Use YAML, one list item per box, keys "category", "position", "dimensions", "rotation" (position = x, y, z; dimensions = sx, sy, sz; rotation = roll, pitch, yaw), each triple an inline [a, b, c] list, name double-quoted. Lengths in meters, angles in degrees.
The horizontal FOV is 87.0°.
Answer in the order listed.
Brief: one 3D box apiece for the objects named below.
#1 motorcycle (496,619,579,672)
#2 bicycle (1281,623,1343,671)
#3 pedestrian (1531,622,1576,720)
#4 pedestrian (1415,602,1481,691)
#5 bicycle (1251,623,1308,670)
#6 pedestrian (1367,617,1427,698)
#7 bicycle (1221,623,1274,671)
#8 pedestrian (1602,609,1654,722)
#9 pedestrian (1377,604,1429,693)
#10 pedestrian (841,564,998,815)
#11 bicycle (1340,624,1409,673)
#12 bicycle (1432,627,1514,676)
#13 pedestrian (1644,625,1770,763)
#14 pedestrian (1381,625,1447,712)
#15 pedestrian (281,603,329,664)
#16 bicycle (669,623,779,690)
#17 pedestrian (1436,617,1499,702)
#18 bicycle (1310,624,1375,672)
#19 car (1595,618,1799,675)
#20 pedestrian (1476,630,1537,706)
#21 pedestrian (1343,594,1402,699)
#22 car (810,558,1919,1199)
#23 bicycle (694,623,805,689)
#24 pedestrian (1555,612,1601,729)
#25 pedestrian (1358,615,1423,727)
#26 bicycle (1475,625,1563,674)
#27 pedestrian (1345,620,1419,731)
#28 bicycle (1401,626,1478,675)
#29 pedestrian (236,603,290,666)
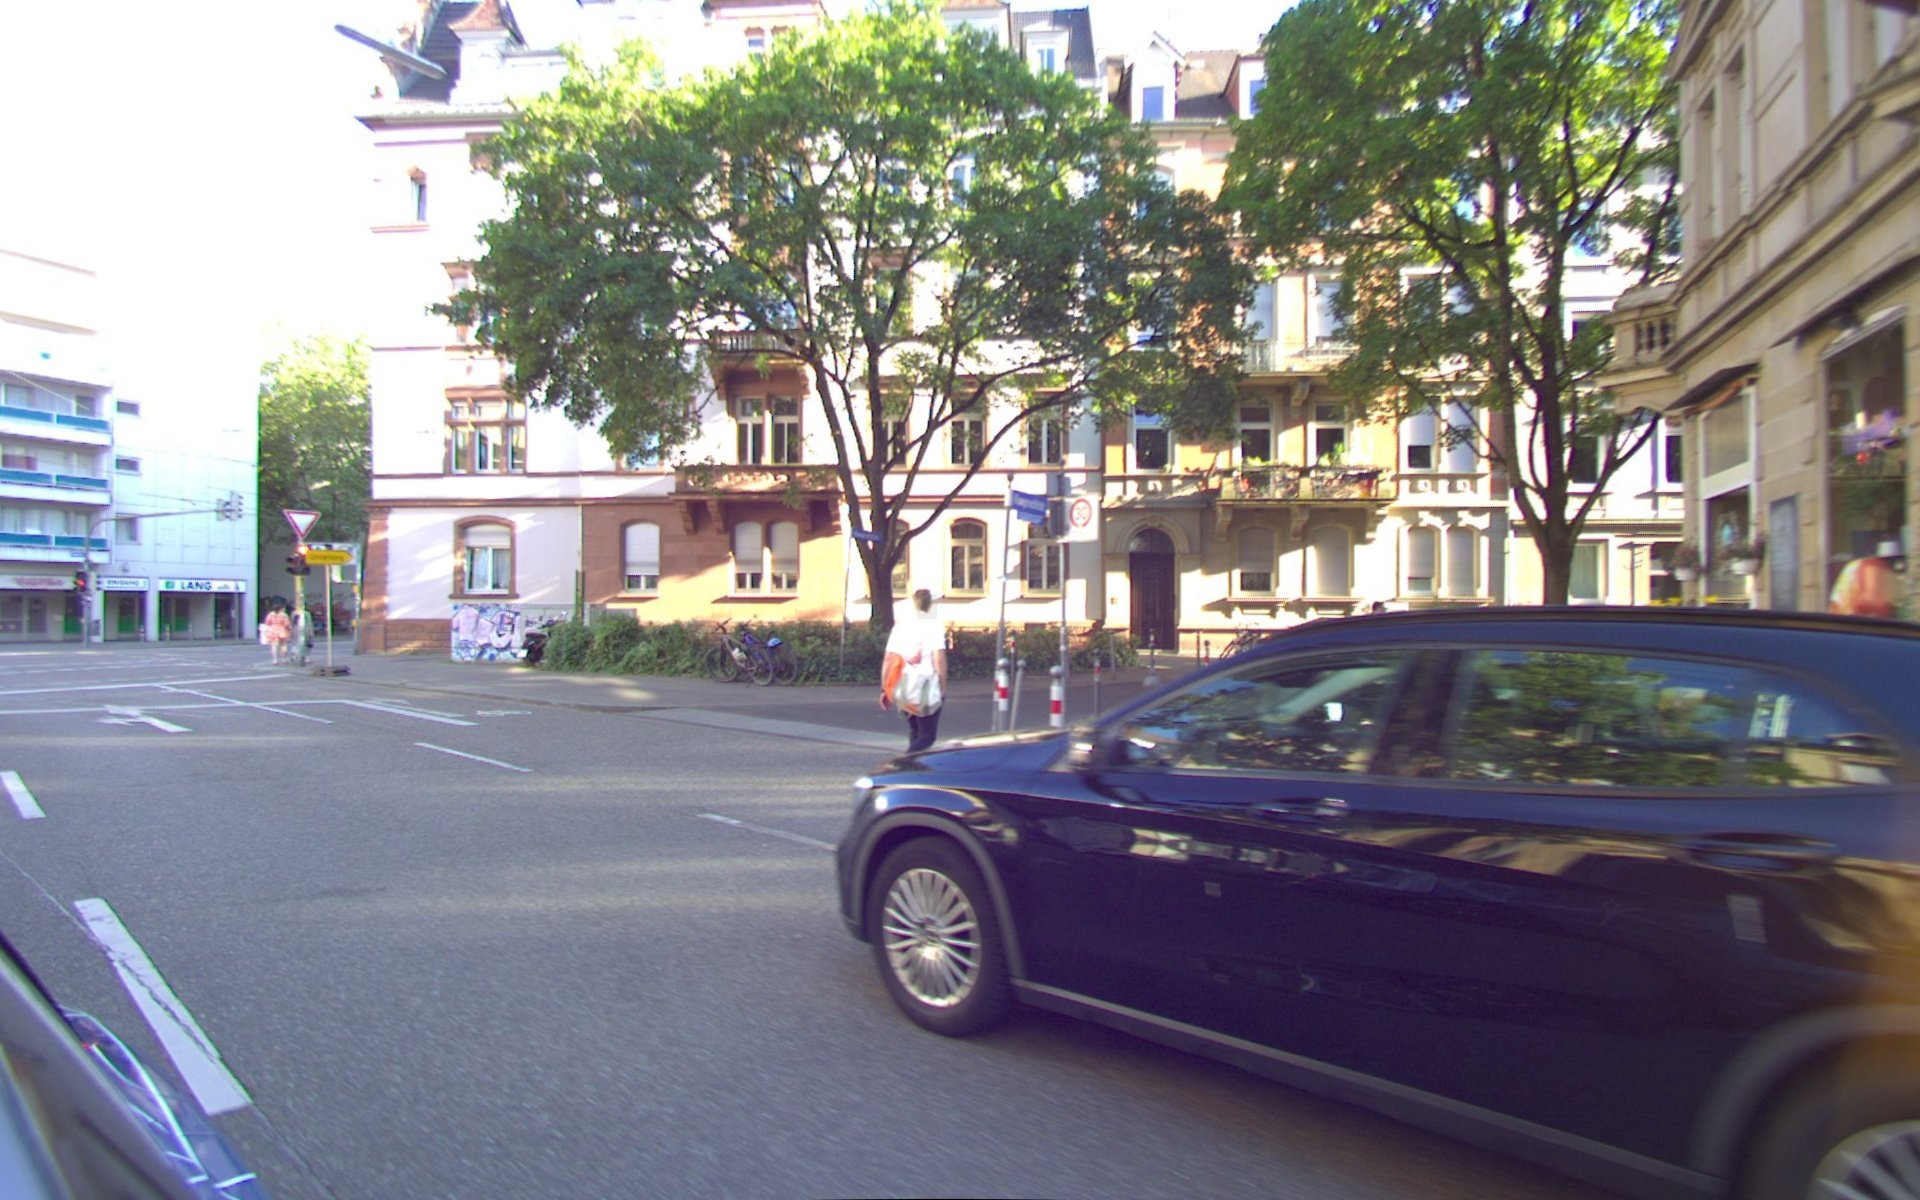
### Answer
- category: "motorcycle"
  position: [-10.613, 1.116, 25.506]
  dimensions: [0.835, 1.275, 2.100]
  rotation: [0, -1, 14]
- category: "bicycle"
  position: [9.320, 1.212, 26.933]
  dimensions: [0.742, 1.189, 3.132]
  rotation: [0, -1, 4]
- category: "pedestrian"
  position: [7.830, 0.922, 13.346]
  dimensions: [0.433, 1.258, 0.476]
  rotation: [-2, -2, 37]
- category: "pedestrian"
  position: [8.201, 0.780, 17.013]
  dimensions: [0.657, 1.453, 0.768]
  rotation: [2, -3, -38]
- category: "bicycle"
  position: [8.487, 1.201, 27.031]
  dimensions: [0.742, 1.189, 3.132]
  rotation: [0, -1, 4]
- category: "pedestrian"
  position: [7.968, 1.040, 18.464]
  dimensions: [0.657, 1.423, 0.769]
  rotation: [2, -3, -36]
- category: "bicycle"
  position: [7.654, 1.216, 27.090]
  dimensions: [0.742, 1.189, 3.132]
  rotation: [0, -1, 4]
- category: "pedestrian"
  position: [8.711, 0.843, 13.216]
  dimensions: [0.480, 1.442, 0.564]
  rotation: [-2, -2, 28]
- category: "pedestrian"
  position: [8.591, 0.929, 19.633]
  dimensions: [0.766, 1.682, 0.659]
  rotation: [-2, -3, 38]
- category: "pedestrian"
  position: [-0.317, 0.691, 8.418]
  dimensions: [0.840, 1.913, 1.105]
  rotation: [-1, -1, 33]
- category: "bicycle"
  position: [10.915, 1.247, 26.779]
  dimensions: [0.742, 1.189, 3.132]
  rotation: [0, -1, 4]
- category: "bicycle"
  position: [13.372, 1.305, 26.517]
  dimensions: [0.742, 1.189, 3.132]
  rotation: [0, -1, 4]
- category: "pedestrian"
  position: [6.942, 0.844, 9.448]
  dimensions: [0.751, 1.223, 0.723]
  rotation: [-1, -1, 20]
- category: "pedestrian"
  position: [6.810, 1.012, 15.177]
  dimensions: [0.748, 1.258, 0.698]
  rotation: [-2, -2, 37]
- category: "pedestrian"
  position: [-18.770, 0.947, 29.020]
  dimensions: [0.982, 1.710, 0.859]
  rotation: [-1, -2, 37]
- category: "bicycle"
  position: [-4.558, 1.043, 19.358]
  dimensions: [2.959, 1.205, 0.540]
  rotation: [-1, -2, 44]
- category: "pedestrian"
  position: [8.900, 1.032, 17.744]
  dimensions: [0.657, 1.453, 0.768]
  rotation: [2, -3, -38]
- category: "bicycle"
  position: [10.096, 1.228, 26.846]
  dimensions: [0.742, 1.189, 3.132]
  rotation: [0, -1, 4]
- category: "car"
  position: [18.747, 1.153, 25.896]
  dimensions: [3.705, 1.386, 1.926]
  rotation: [0, -1, 6]
- category: "pedestrian"
  position: [9.030, 1.113, 16.720]
  dimensions: [0.657, 1.225, 0.678]
  rotation: [3, -3, -40]
- category: "pedestrian"
  position: [7.252, 0.817, 17.823]
  dimensions: [0.563, 1.784, 0.768]
  rotation: [2, -3, -38]
- category: "car"
  position: [1.492, 0.717, 3.127]
  dimensions: [4.141, 1.499, 1.738]
  rotation: [-1, -3, 45]
- category: "bicycle"
  position: [-4.160, 1.063, 19.789]
  dimensions: [2.959, 1.205, 0.540]
  rotation: [-1, -2, 44]
- category: "pedestrian"
  position: [7.513, 0.845, 12.316]
  dimensions: [0.432, 1.377, 0.477]
  rotation: [-2, -2, 31]
- category: "pedestrian"
  position: [5.686, 0.912, 13.348]
  dimensions: [0.724, 1.422, 0.750]
  rotation: [-1, -1, 28]
- category: "bicycle"
  position: [14.493, 1.243, 26.364]
  dimensions: [0.742, 1.189, 3.132]
  rotation: [0, -1, 4]
- category: "pedestrian"
  position: [5.165, 0.899, 12.375]
  dimensions: [0.740, 1.299, 0.738]
  rotation: [-1, -1, 30]
- category: "bicycle"
  position: [12.540, 1.285, 26.587]
  dimensions: [0.742, 1.189, 3.132]
  rotation: [0, -1, 4]
- category: "pedestrian"
  position: [-19.379, 0.950, 28.139]
  dimensions: [0.856, 1.710, 0.985]
  rotation: [0, -1, -6]
